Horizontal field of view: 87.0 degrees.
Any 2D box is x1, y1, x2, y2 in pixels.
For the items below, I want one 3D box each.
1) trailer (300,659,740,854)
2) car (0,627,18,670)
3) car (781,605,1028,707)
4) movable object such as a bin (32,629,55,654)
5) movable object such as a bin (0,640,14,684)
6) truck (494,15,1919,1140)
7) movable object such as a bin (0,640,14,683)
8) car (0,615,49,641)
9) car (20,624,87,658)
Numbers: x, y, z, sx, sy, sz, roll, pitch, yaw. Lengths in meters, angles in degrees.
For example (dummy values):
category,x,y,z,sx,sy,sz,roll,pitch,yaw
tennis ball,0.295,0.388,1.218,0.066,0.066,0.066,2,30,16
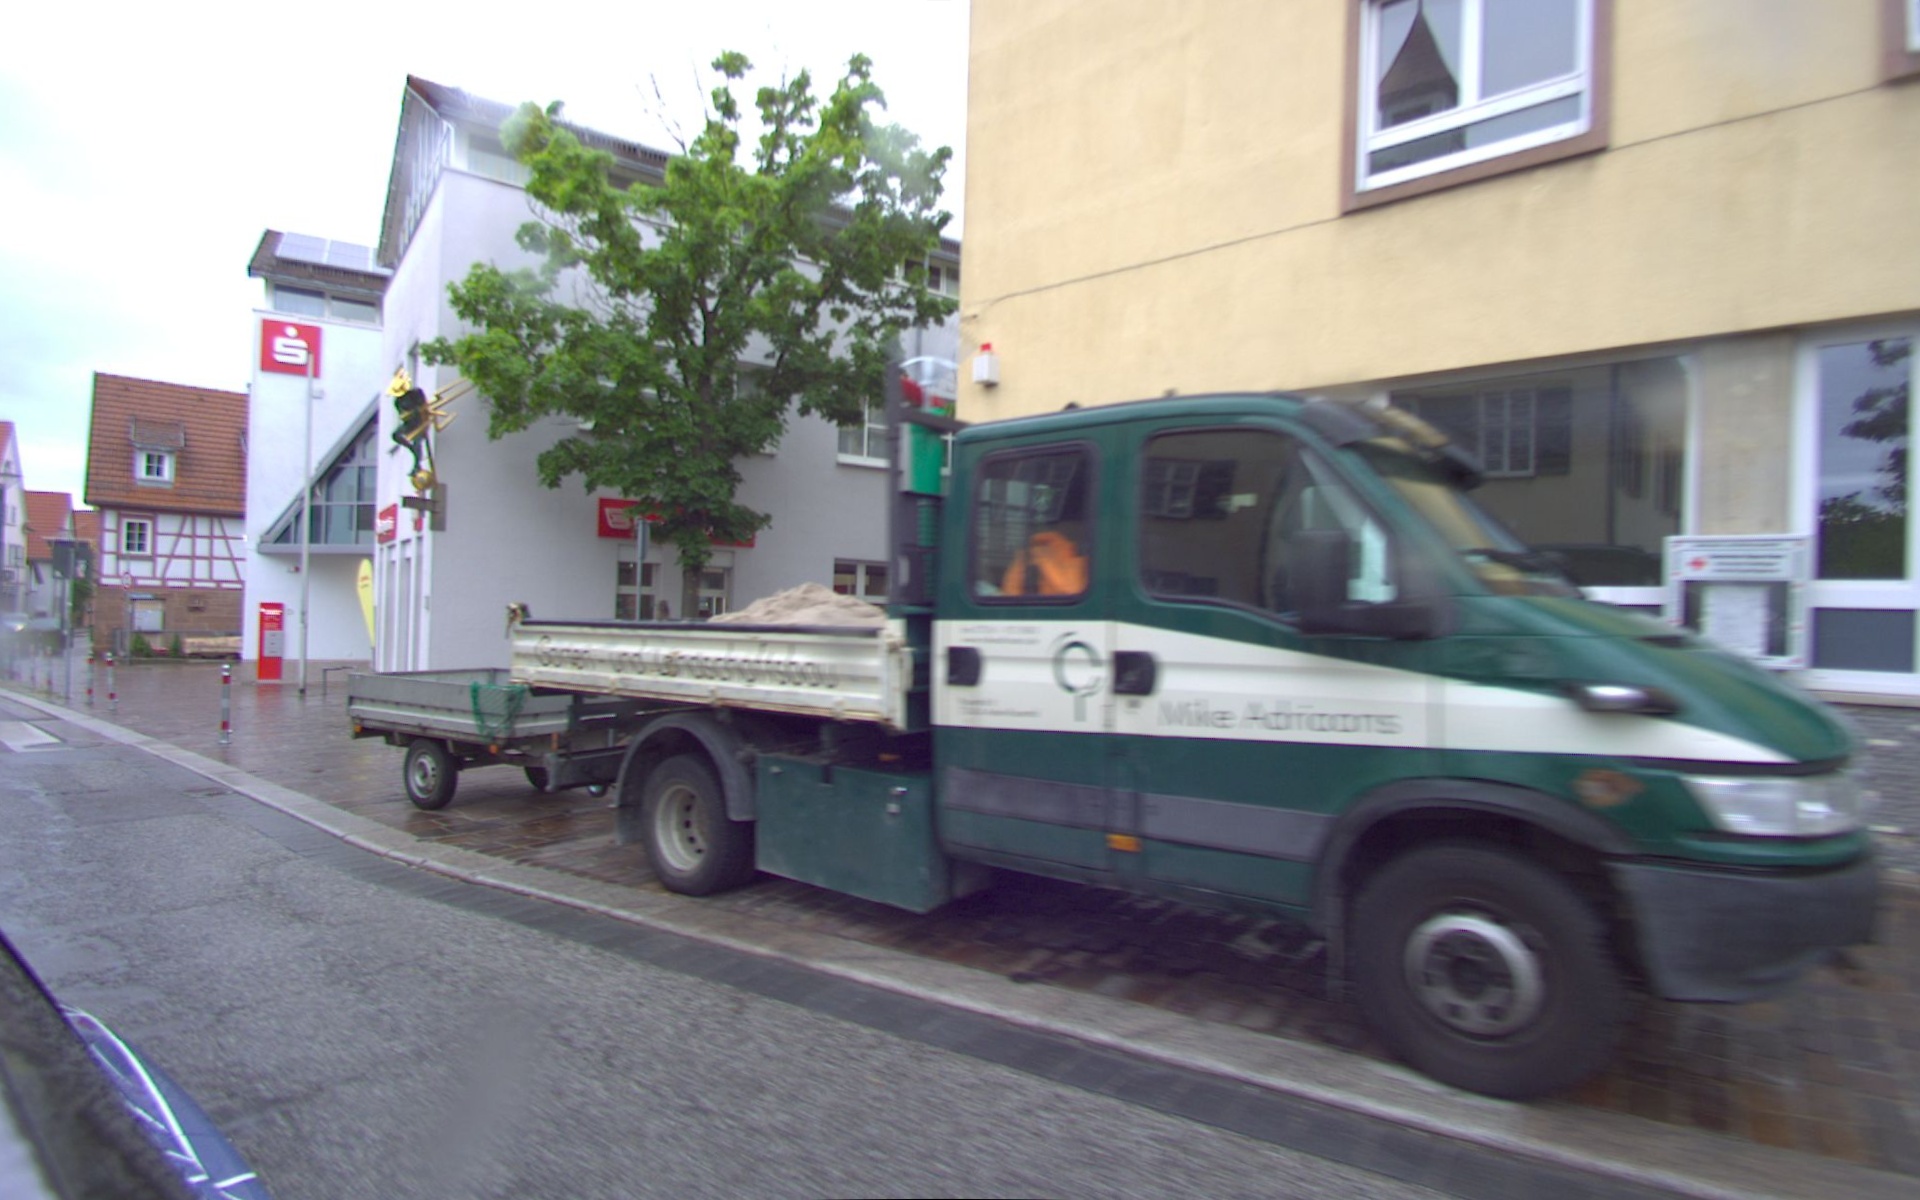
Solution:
category,x,y,z,sx,sy,sz,roll,pitch,yaw
trailer,-3.414,1.063,7.782,3.013,1.133,1.836,-3,-3,36
car,-35.929,1.765,37.252,1.781,1.453,4.003,1,-1,-44
car,-0.939,1.005,18.226,4.053,1.630,1.861,3,-3,-35
movable object such as a bin,-37.324,1.688,41.233,0.530,1.030,0.604,-1,-3,42
movable object such as a bin,-24.156,1.551,25.306,0.645,1.085,0.688,-1,0,42
truck,0.482,0.108,5.131,6.470,2.615,2.378,-3,-4,36
movable object such as a bin,-24.667,1.562,25.814,0.645,1.059,0.688,-1,-3,42
car,-56.771,1.682,61.199,1.838,1.472,4.011,3,-3,-33
car,-42.393,1.875,47.392,1.778,1.453,4.010,1,-1,-34
